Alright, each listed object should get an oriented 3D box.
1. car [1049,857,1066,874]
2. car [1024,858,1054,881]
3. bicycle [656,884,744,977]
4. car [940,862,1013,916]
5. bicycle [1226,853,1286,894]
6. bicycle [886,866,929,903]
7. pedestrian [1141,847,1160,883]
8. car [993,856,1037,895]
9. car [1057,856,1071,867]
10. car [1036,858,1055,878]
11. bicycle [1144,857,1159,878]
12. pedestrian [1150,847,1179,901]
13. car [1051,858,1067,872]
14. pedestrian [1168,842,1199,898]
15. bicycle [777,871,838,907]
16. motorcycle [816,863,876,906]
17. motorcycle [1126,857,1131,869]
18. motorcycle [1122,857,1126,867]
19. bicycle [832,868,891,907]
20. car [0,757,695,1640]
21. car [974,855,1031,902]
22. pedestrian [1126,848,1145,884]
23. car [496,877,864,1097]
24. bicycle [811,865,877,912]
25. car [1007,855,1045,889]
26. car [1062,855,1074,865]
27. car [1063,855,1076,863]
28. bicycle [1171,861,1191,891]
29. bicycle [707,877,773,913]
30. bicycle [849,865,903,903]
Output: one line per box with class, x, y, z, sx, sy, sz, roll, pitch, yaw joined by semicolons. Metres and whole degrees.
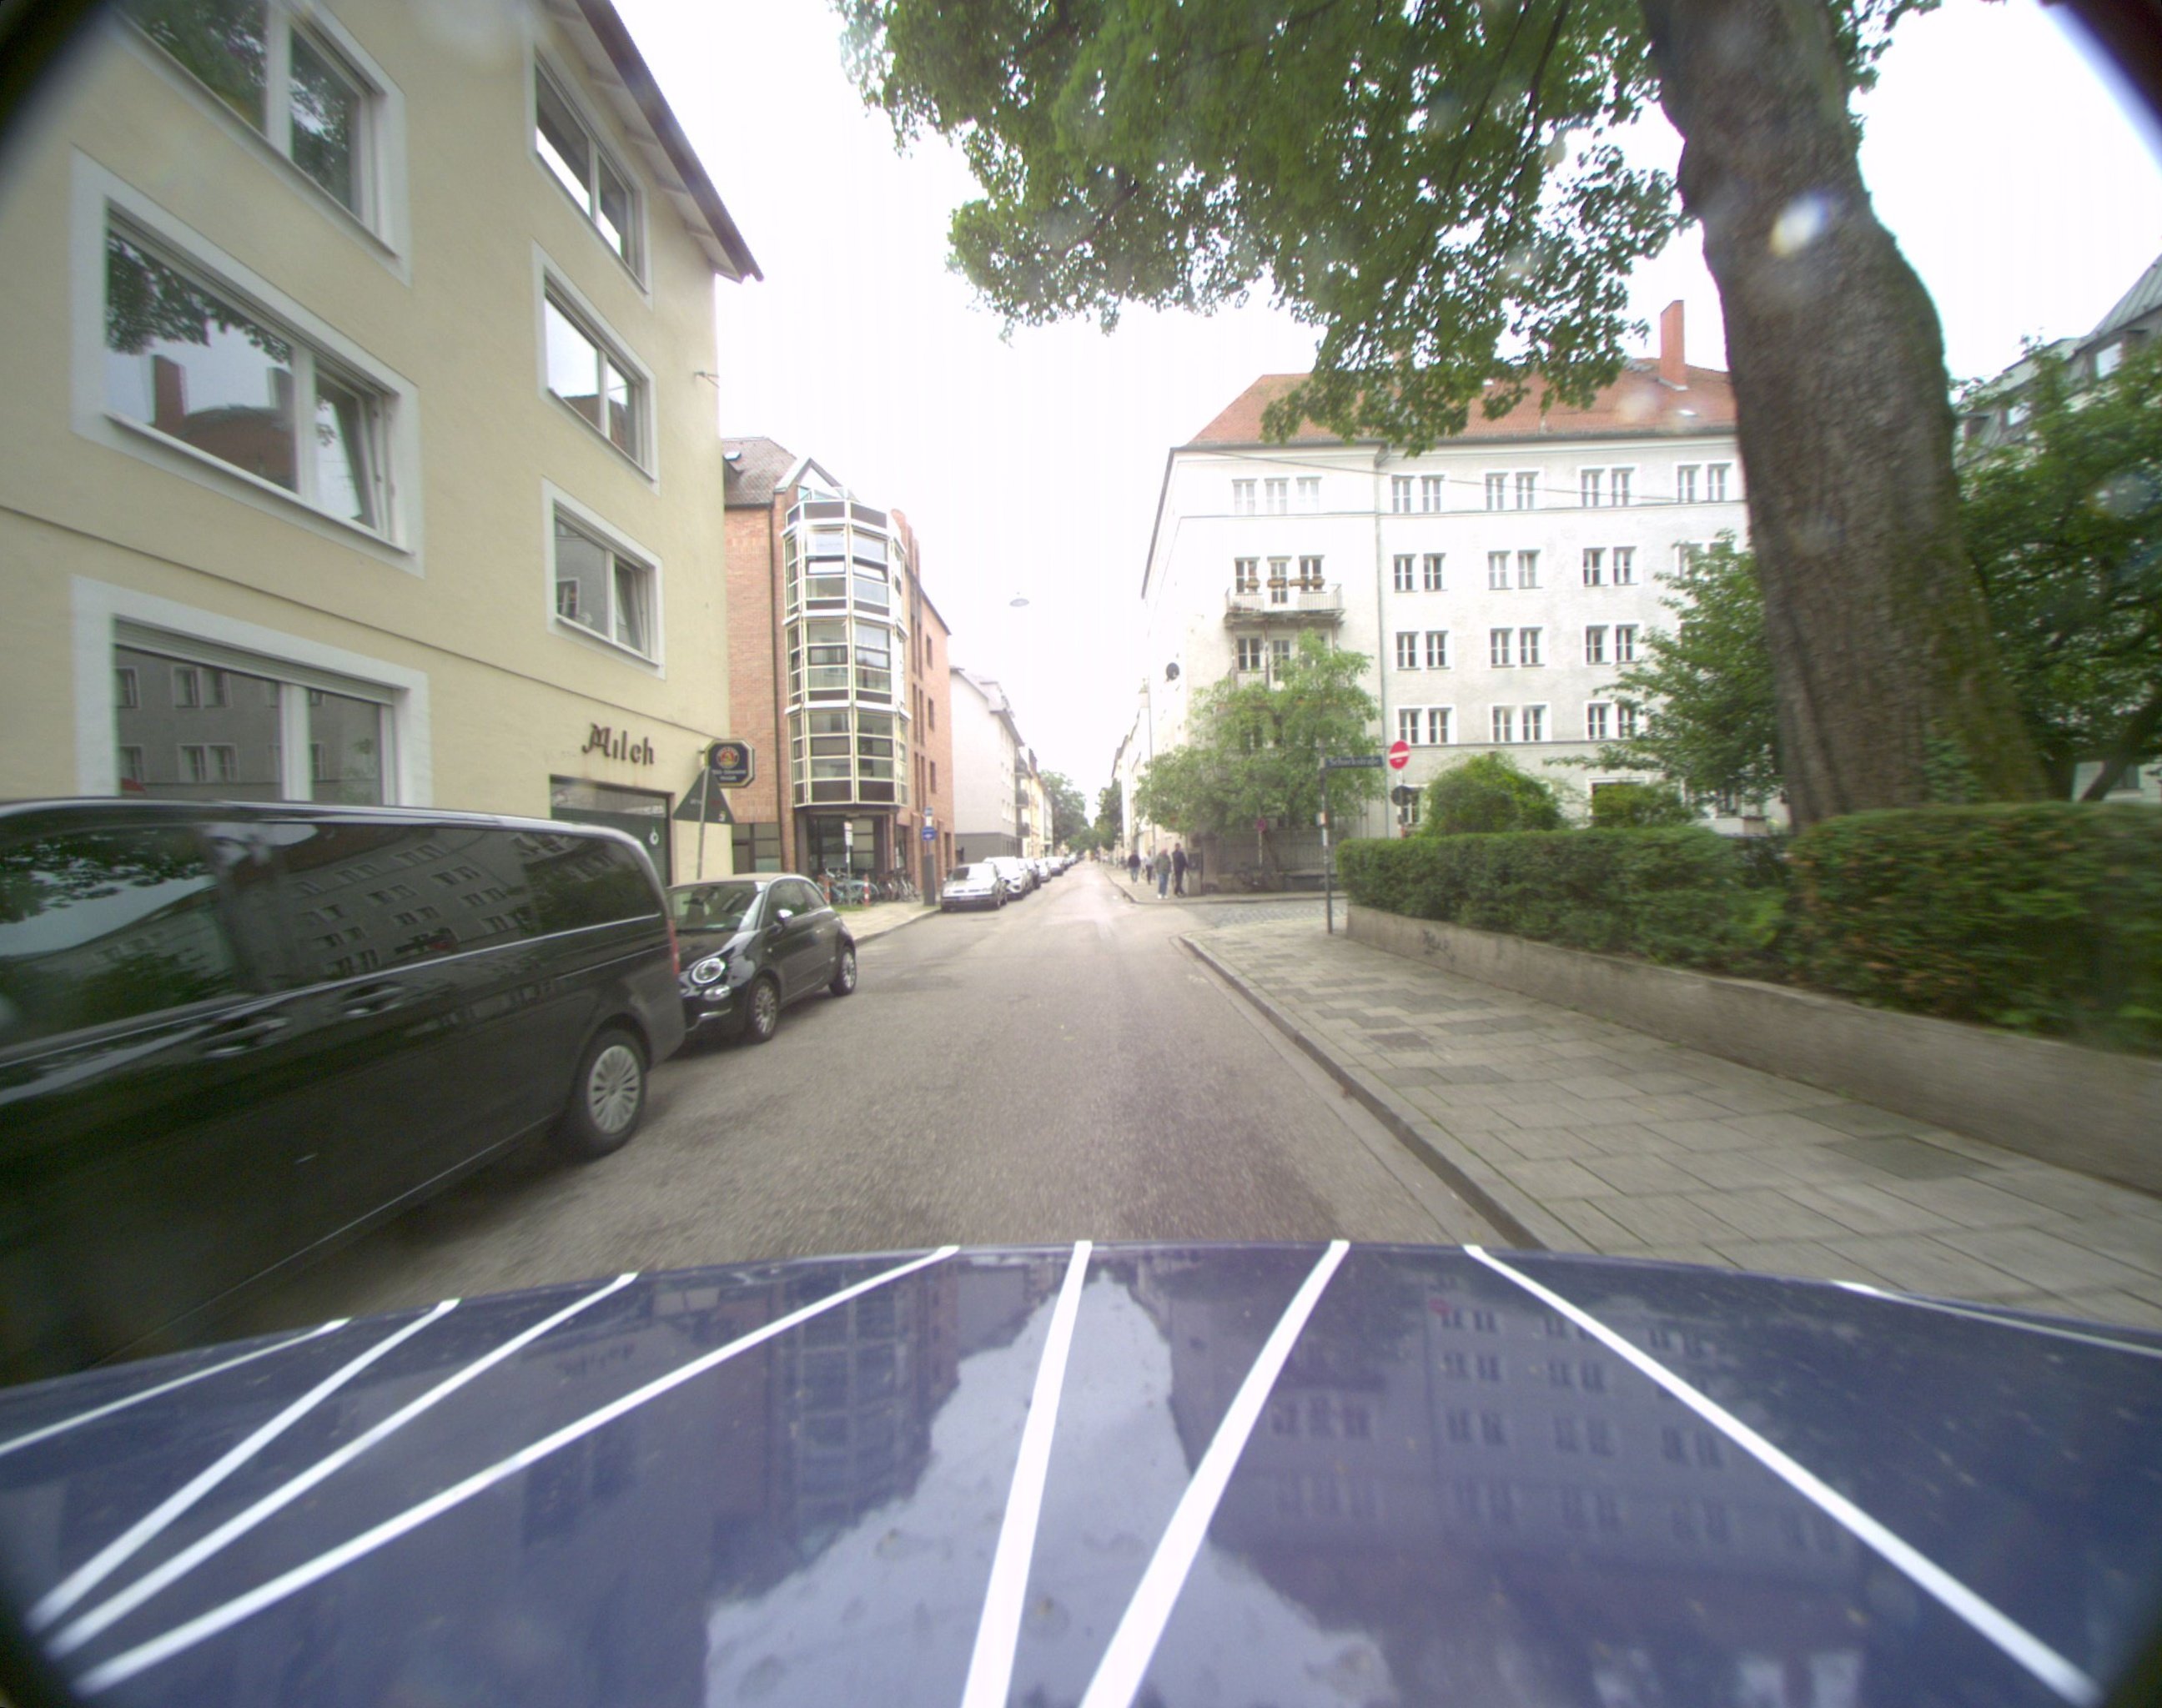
car;-1.939;0.973;63.583;1.190;1.312;2.780;-3;0;1
car;-2.678;0.978;49.225;1.619;1.368;3.817;-3;0;1
bicycle;-5.838;1.136;11.759;0.411;1.207;1.818;1;2;1
car;-3.201;1.019;24.081;1.725;1.426;4.358;-3;0;-1
bicycle;5.724;0.626;24.868;1.811;1.253;0.432;-2;1;0
bicycle;-6.168;1.069;27.122;0.741;1.210;1.782;-1;1;15
pedestrian;3.442;0.543;37.549;0.695;1.718;0.841;-6;1;1
car;-2.924;0.922;34.077;1.619;1.548;3.807;-3;0;-1
car;-1.965;0.870;89.294;1.525;1.259;3.210;-3;0;1
car;-2.513;0.986;54.529;1.154;1.367;2.685;-3;0;1
bicycle;3.990;0.758;43.070;0.450;1.187;1.498;-3;0;-9
pedestrian;2.669;0.634;24.366;0.691;1.668;0.859;-4;1;-1
car;-2.116;1.016;74.082;1.352;1.259;3.037;-3;0;1
pedestrian;3.350;0.512;24.924;0.692;1.752;0.741;-4;1;-9
bicycle;-8.669;1.102;24.088;1.752;1.066;0.443;-1;1;7
motorcycle;-7.589;0.973;24.569;1.765;1.376;0.552;0;0;-5
motorcycle;4.160;0.773;66.502;0.324;0.968;1.961;-3;0;1
motorcycle;4.309;0.813;76.098;0.324;0.968;1.961;-3;0;1
bicycle;-6.890;1.036;23.854;1.752;1.180;0.443;1;1;7
car;-3.462;0.818;2.375;1.996;1.965;4.884;-4;0;-2
car;-2.982;0.886;29.647;1.725;1.606;4.454;-3;0;-1
pedestrian;2.710;0.600;37.562;0.721;1.718;0.841;-6;1;1
car;-3.552;1.067;7.547;1.638;1.462;3.538;-4;0;1
bicycle;-7.219;1.023;23.144;1.807;1.315;0.586;-2;2;-25
car;-2.801;0.901;39.352;1.619;1.570;4.051;-3;0;-1
car;-1.861;0.851;110.341;1.557;1.280;3.538;-3;0;1
car;-1.892;0.831;127.835;1.998;1.259;4.000;-3;0;1
bicycle;3.770;0.819;28.812;0.432;1.088;1.703;-3;0;-1
bicycle;-10.540;1.261;23.510;1.884;1.066;0.443;-1;1;7
bicycle;-7.011;1.007;25.965;1.872;1.222;0.594;-1;2;30
